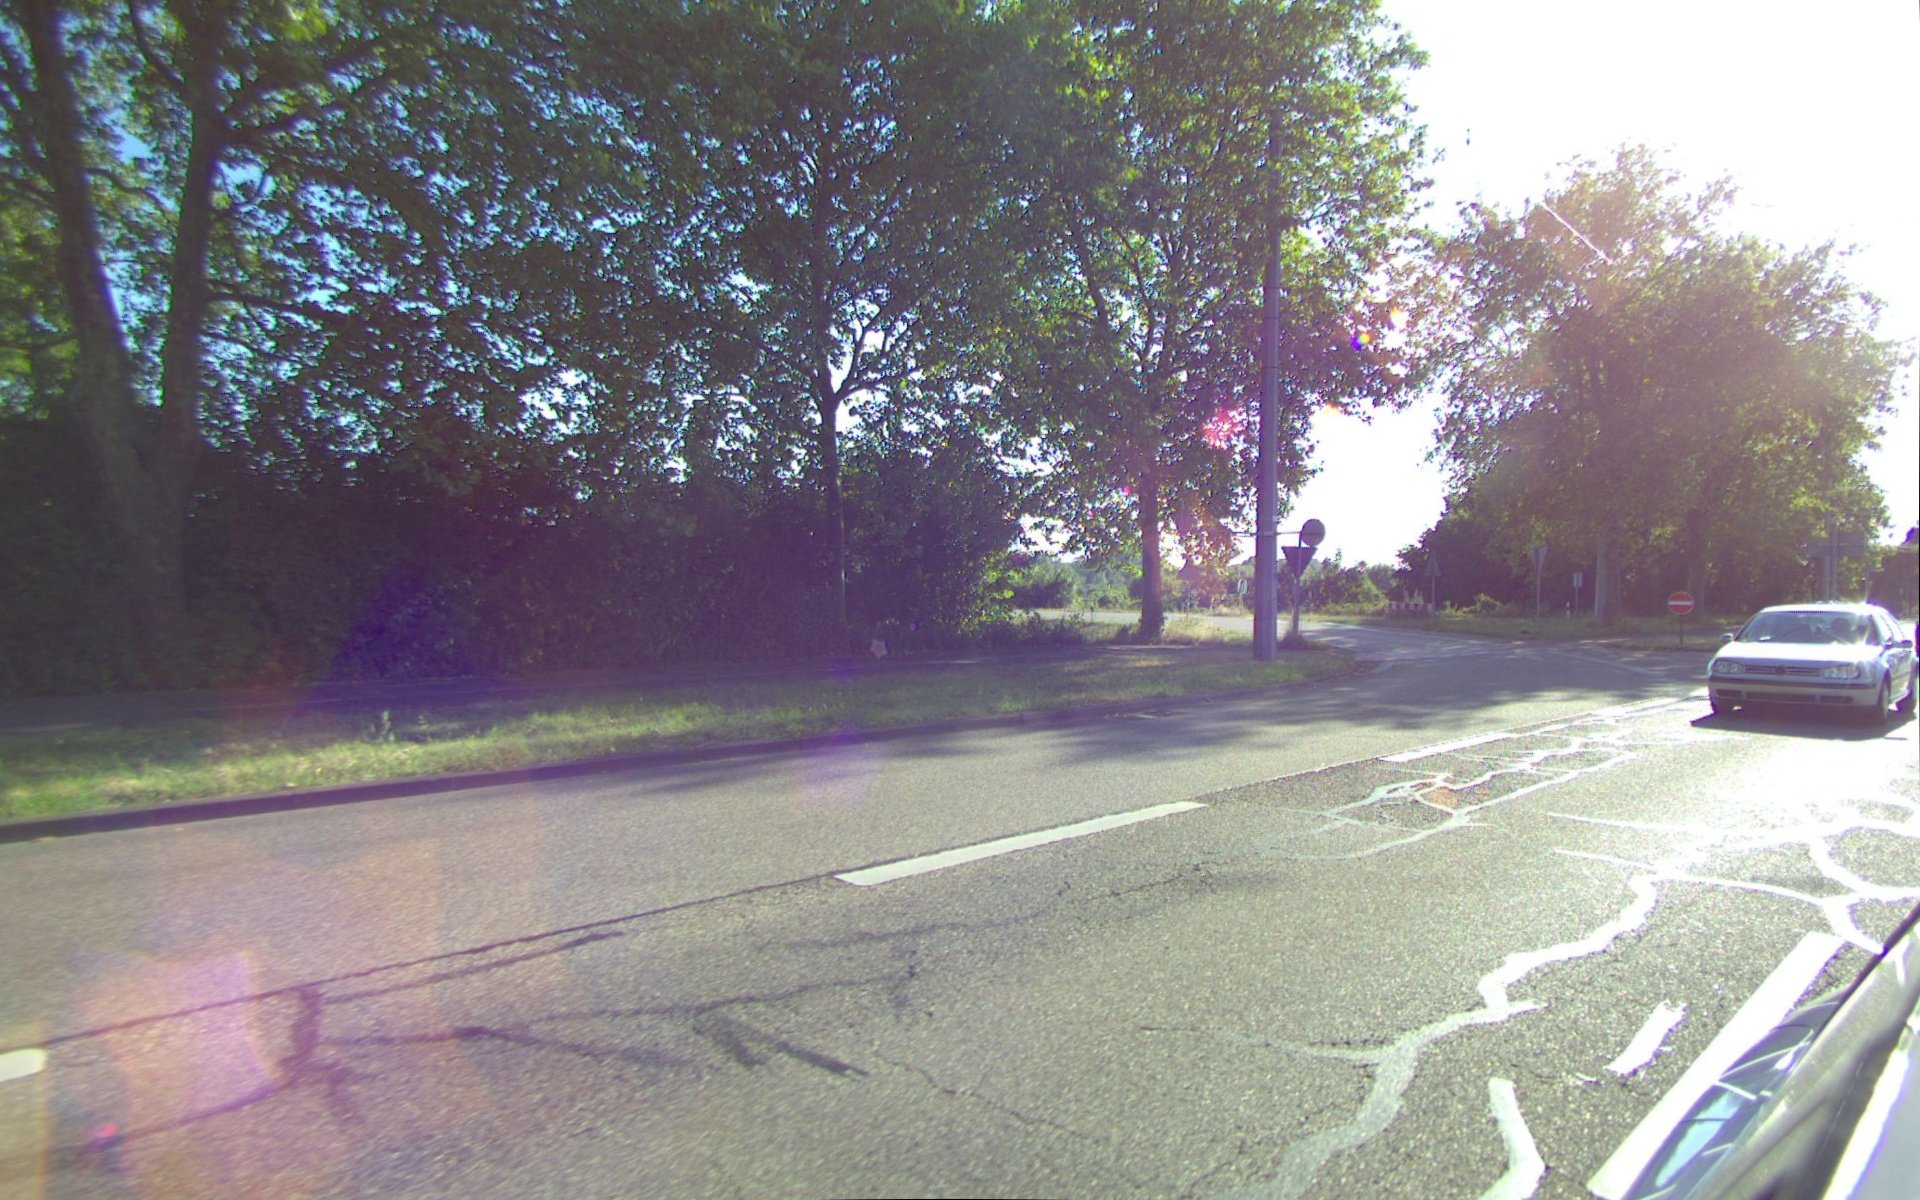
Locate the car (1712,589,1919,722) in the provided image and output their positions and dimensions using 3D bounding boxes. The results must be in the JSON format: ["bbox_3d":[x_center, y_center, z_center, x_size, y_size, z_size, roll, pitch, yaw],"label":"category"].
[{"bbox_3d":[11.463,0.600,13.279,3.930,1.463,1.694,0,1,-40],"label":"car"}]

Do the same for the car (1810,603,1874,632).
[{"bbox_3d":[49.196,0.924,56.415,4.575,1.461,1.881,0,1,-38],"label":"car"}]
